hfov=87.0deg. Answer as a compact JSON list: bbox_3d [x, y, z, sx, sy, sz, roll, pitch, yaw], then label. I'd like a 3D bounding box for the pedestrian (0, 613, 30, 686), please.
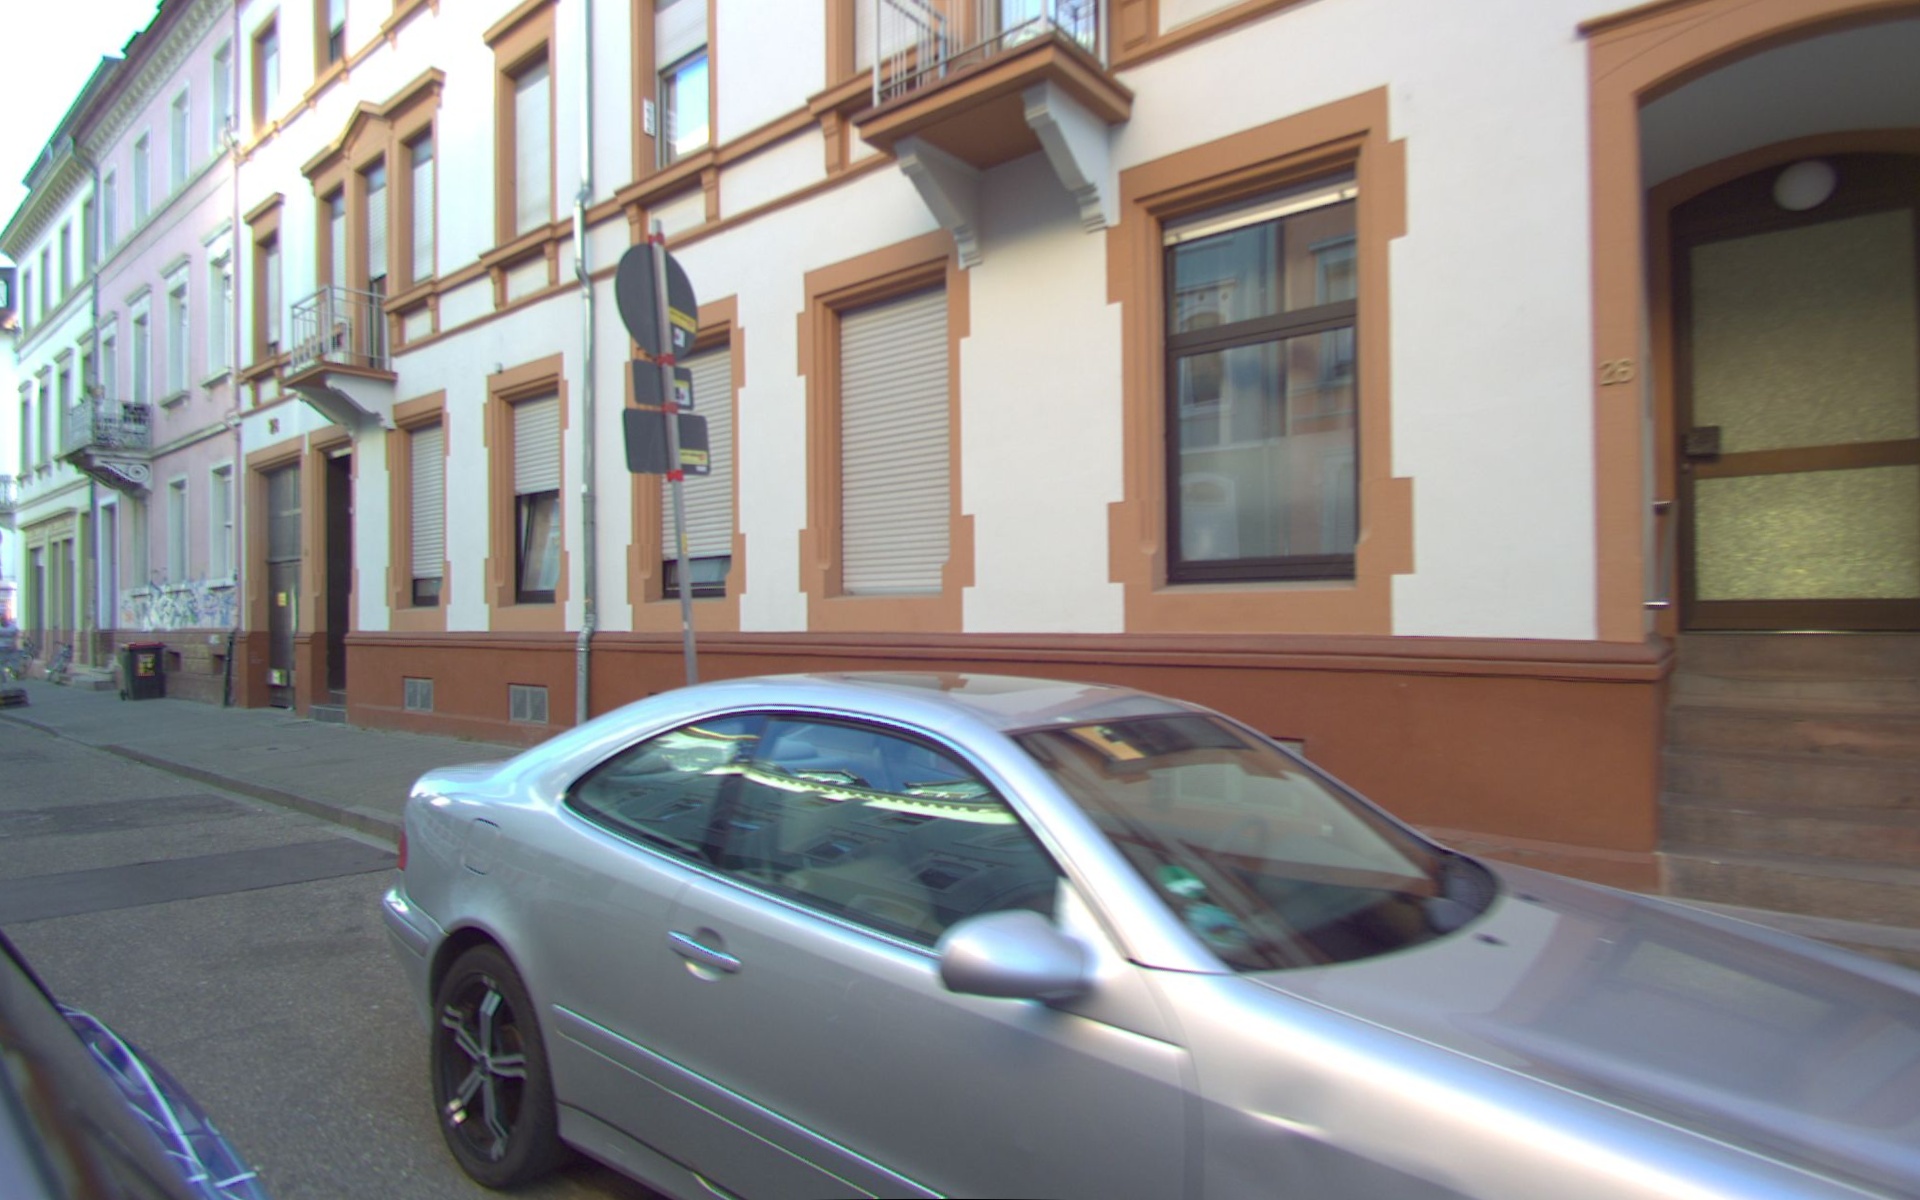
[{"bbox_3d":[-23.418,1.230,24.805,0.864,1.714,0.687,-4,1,39],"label":"pedestrian"}]

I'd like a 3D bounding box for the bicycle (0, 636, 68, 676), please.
[{"bbox_3d":[-33.543,1.983,36.096,0.927,1.369,2.451,-1,-1,39],"label":"bicycle"}]

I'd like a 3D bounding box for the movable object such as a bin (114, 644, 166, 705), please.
[{"bbox_3d":[-14.912,1.343,18.405,0.595,1.043,0.600,-1,0,37],"label":"movable object such as a bin"}]

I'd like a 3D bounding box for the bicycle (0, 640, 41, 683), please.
[{"bbox_3d":[-25.180,1.633,27.038,1.816,1.030,0.597,-1,3,39],"label":"bicycle"}]

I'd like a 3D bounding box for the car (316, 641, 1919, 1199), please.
[{"bbox_3d":[0.257,0.834,2.468,4.500,1.394,1.694,-1,-3,39],"label":"car"}]

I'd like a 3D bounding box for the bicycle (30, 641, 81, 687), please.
[{"bbox_3d":[-21.598,1.517,24.154,1.816,1.030,0.616,-2,0,39],"label":"bicycle"}]
